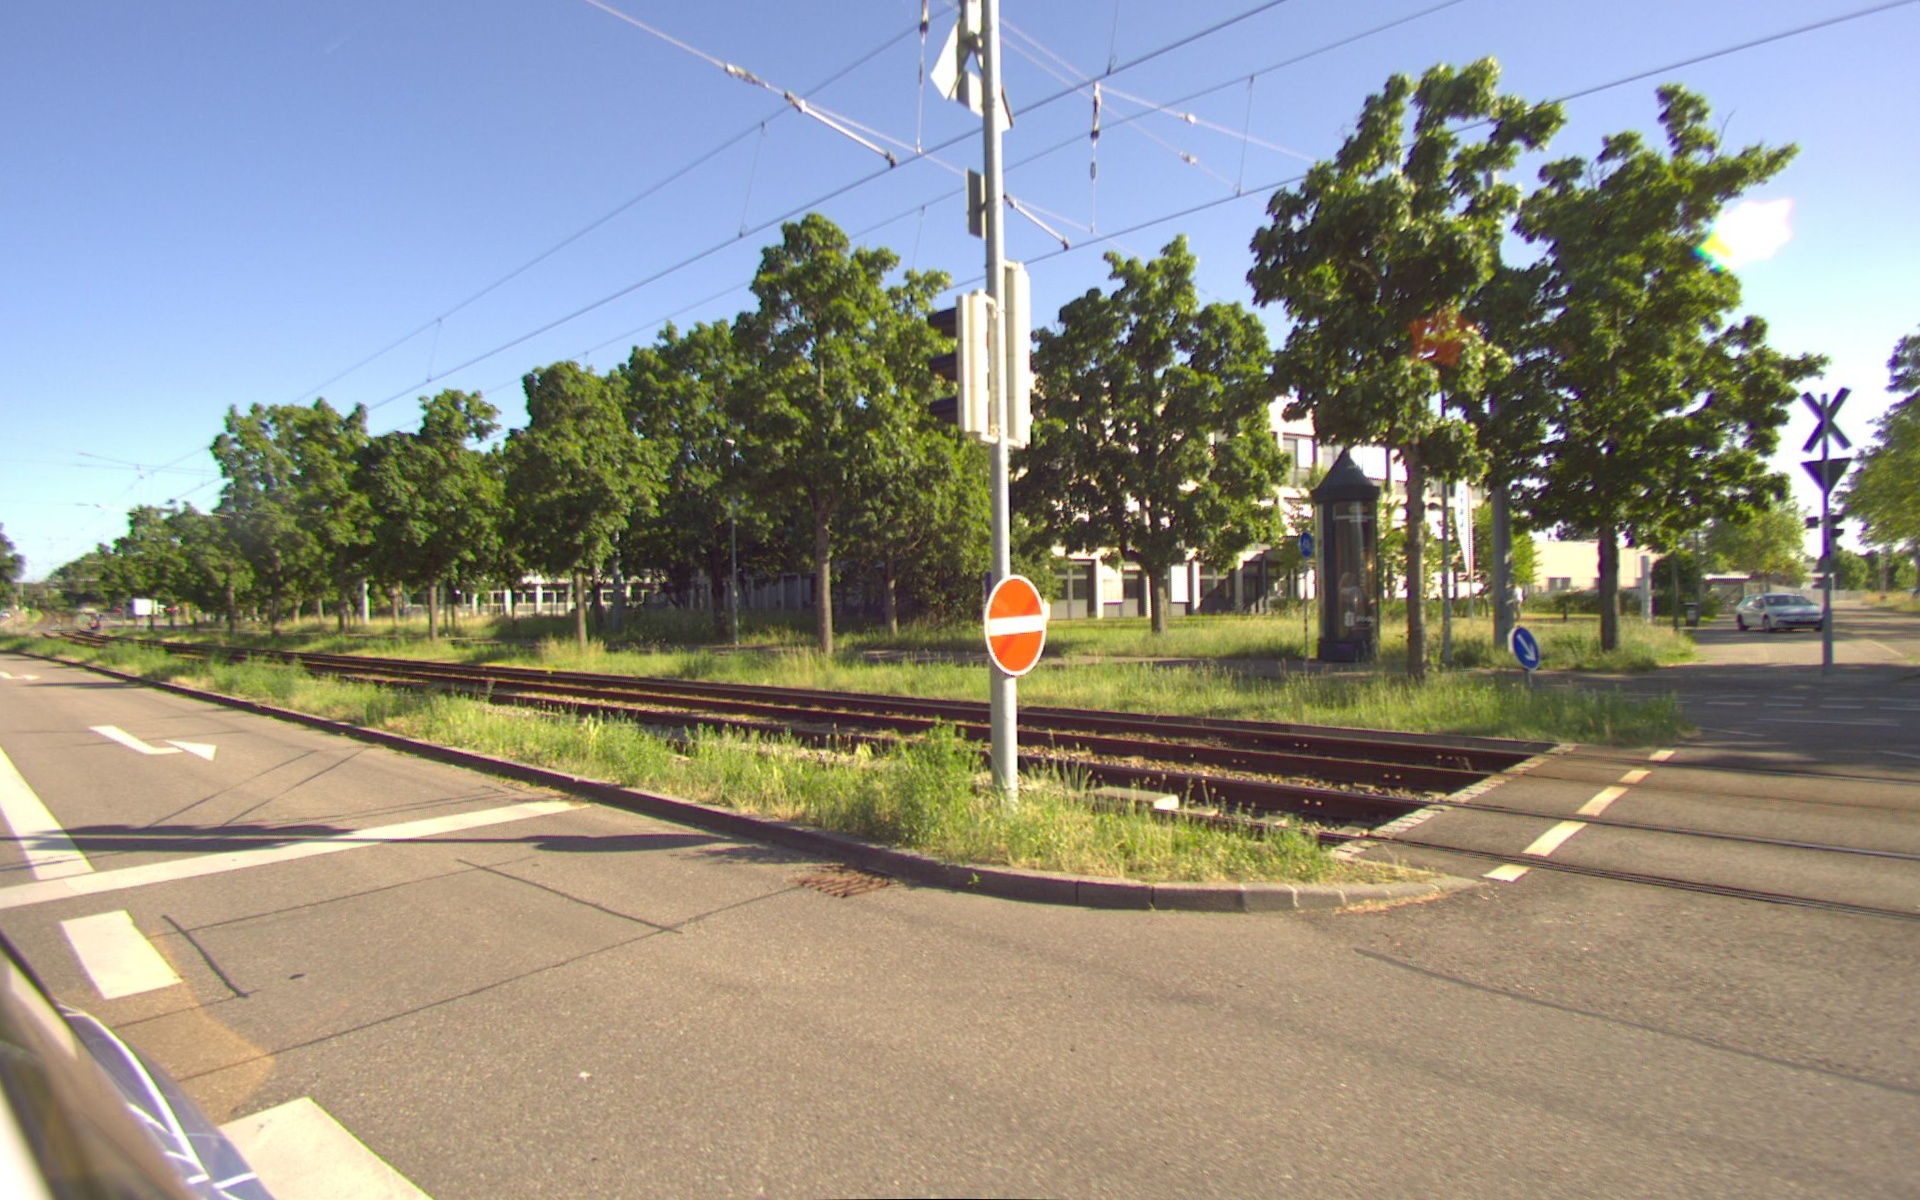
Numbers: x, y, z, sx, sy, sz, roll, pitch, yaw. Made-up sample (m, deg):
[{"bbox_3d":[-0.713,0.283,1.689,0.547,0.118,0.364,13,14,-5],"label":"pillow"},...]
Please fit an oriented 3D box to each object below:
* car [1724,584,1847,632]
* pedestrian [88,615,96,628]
[{"bbox_3d":[30.802,0.302,37.943,1.973,1.652,4.407,-1,-1,17],"label":"car"},{"bbox_3d":[-113.256,2.806,132.020,0.775,1.765,0.782,-1,0,-44],"label":"pedestrian"}]
